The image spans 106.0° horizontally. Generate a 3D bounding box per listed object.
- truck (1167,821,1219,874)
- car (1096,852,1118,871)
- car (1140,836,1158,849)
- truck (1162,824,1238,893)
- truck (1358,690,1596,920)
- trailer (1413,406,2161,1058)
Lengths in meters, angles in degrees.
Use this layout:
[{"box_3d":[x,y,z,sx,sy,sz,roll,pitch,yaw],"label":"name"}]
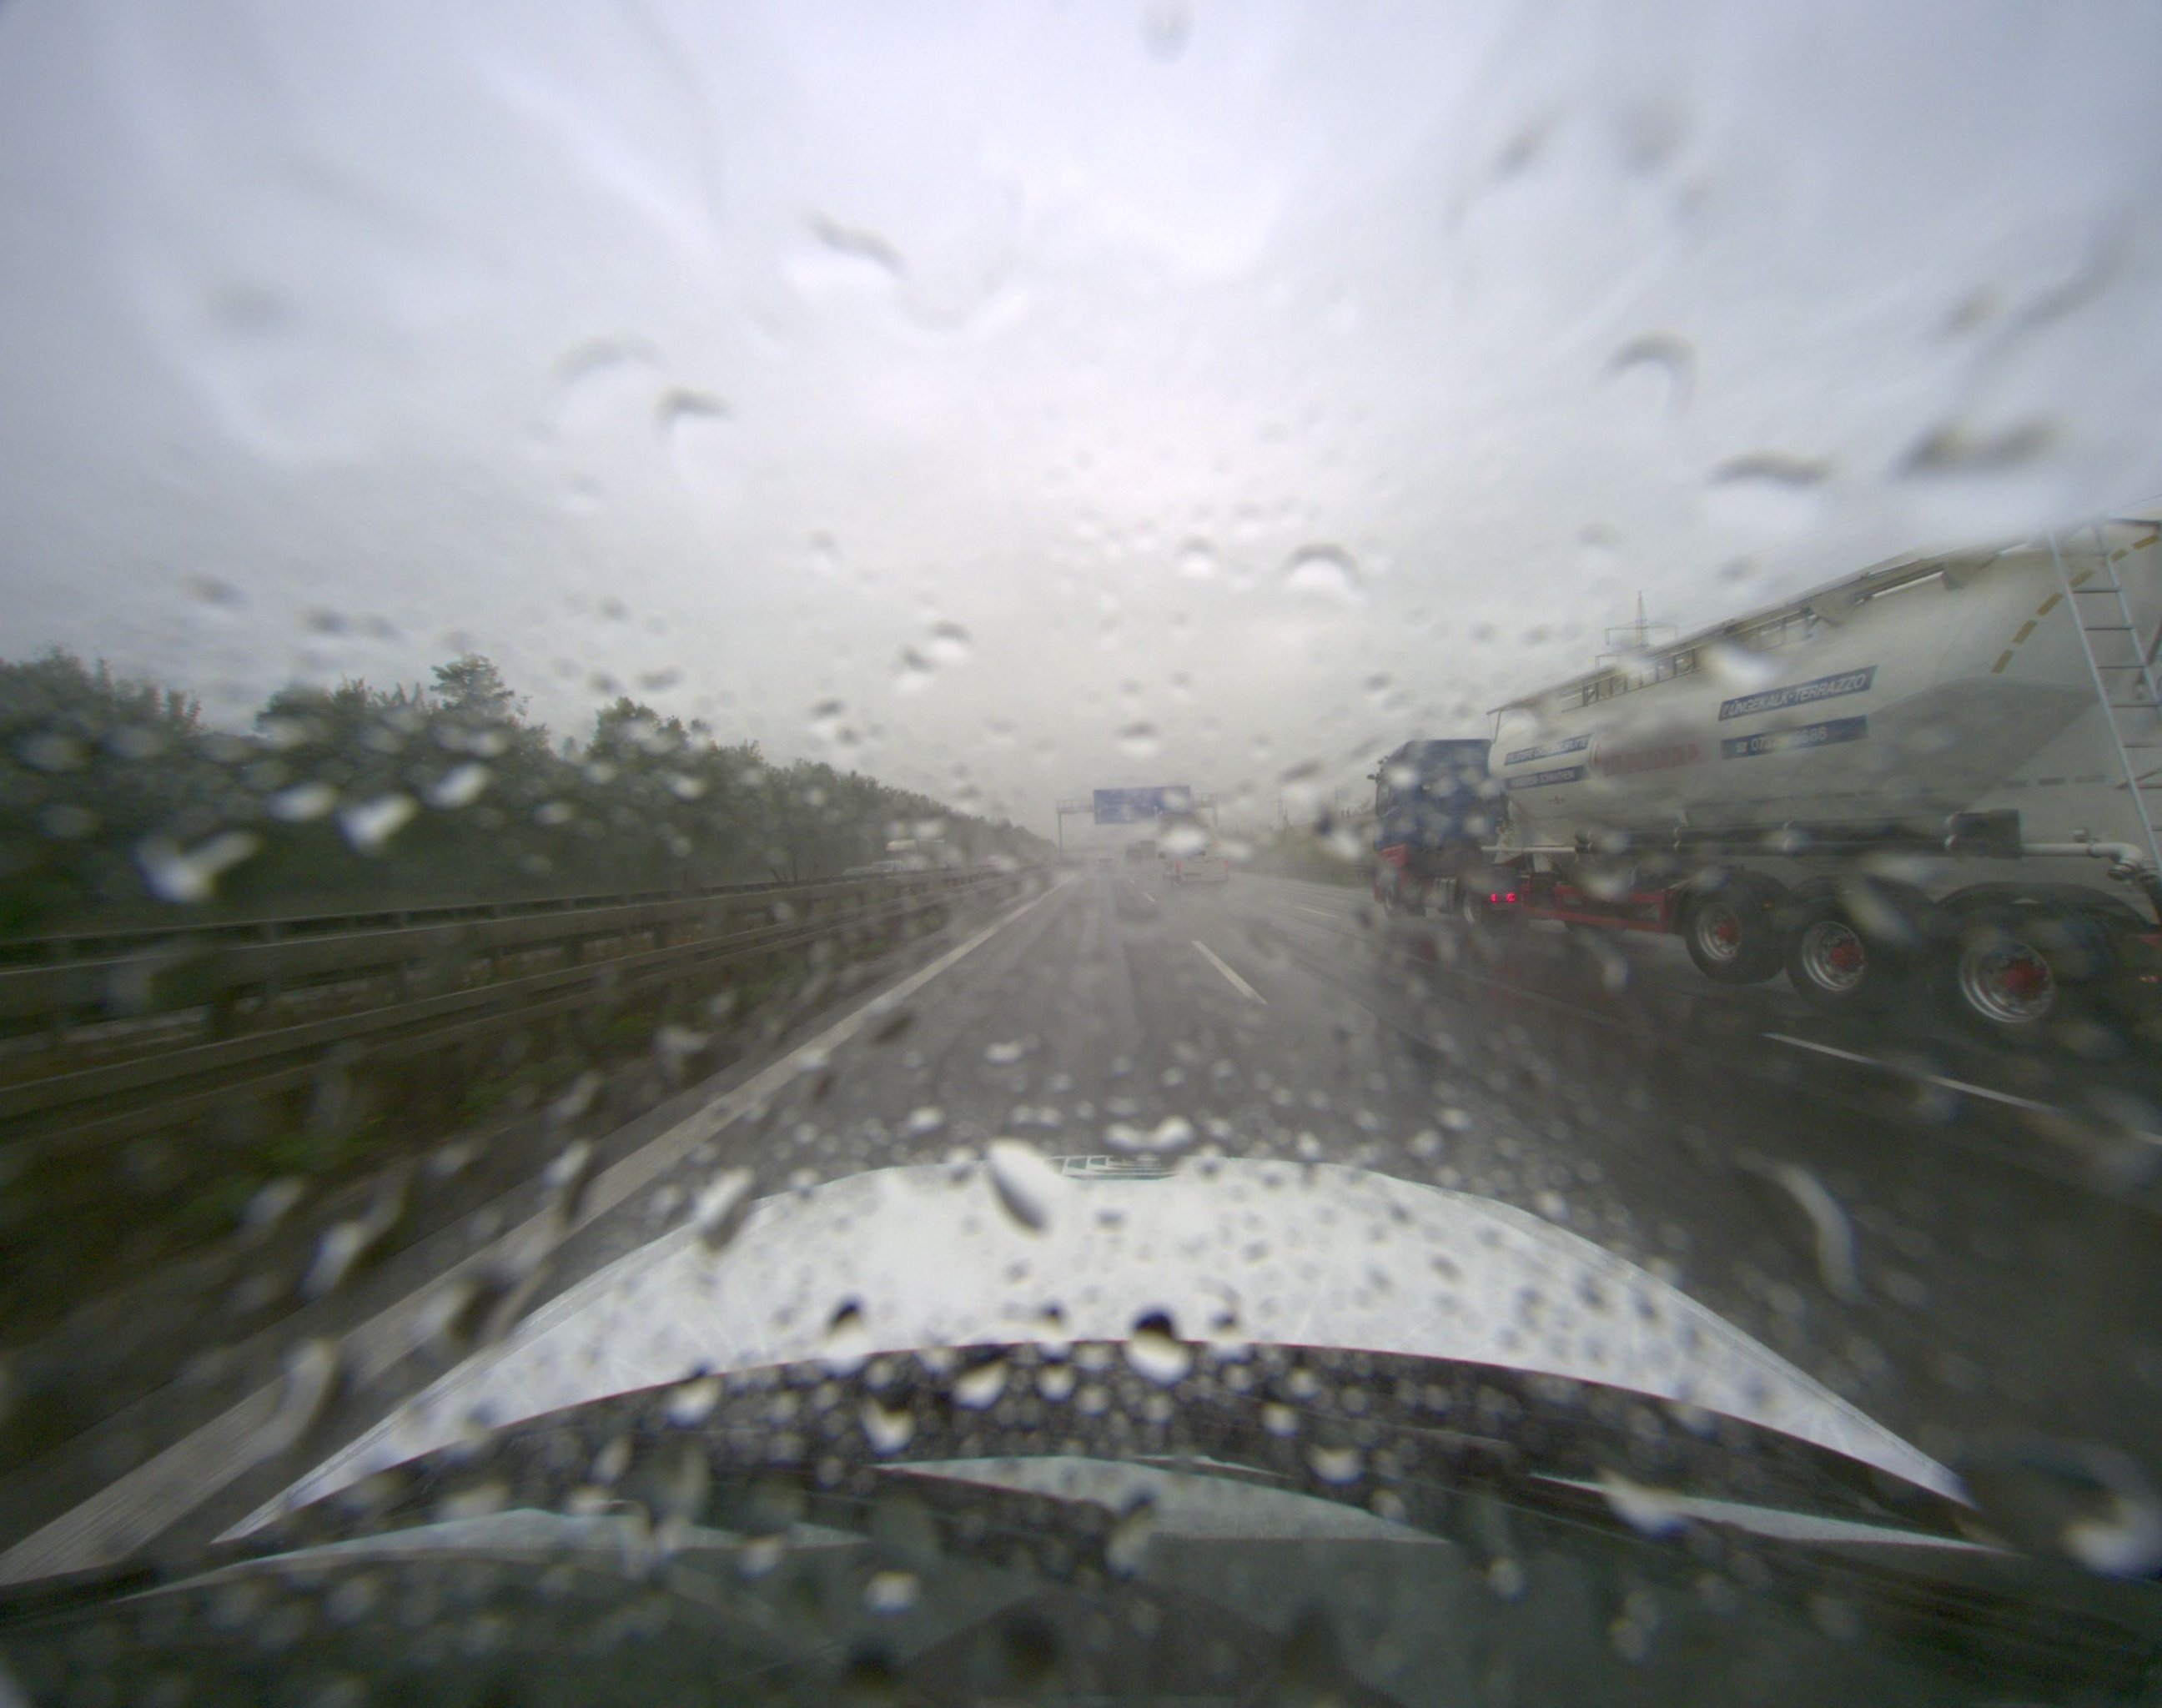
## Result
[{"box_3d":[10.560,-0.542,78.792,3.029,4.588,16.352,-1,0,1],"label":"truck"},{"box_3d":[2.024,0.572,63.676,1.599,1.338,3.850,-1,1,1],"label":"car"},{"box_3d":[11.553,-1.949,137.972,2.778,2.013,4.995,-1,1,1],"label":"car"},{"box_3d":[4.594,0.142,32.279,2.410,2.492,5.563,-1,1,2],"label":"truck"},{"box_3d":[7.753,-0.880,16.701,2.488,3.983,5.077,-1,0,1],"label":"truck"},{"box_3d":[7.641,-0.796,10.382,2.488,3.882,11.069,-1,1,1],"label":"trailer"}]
